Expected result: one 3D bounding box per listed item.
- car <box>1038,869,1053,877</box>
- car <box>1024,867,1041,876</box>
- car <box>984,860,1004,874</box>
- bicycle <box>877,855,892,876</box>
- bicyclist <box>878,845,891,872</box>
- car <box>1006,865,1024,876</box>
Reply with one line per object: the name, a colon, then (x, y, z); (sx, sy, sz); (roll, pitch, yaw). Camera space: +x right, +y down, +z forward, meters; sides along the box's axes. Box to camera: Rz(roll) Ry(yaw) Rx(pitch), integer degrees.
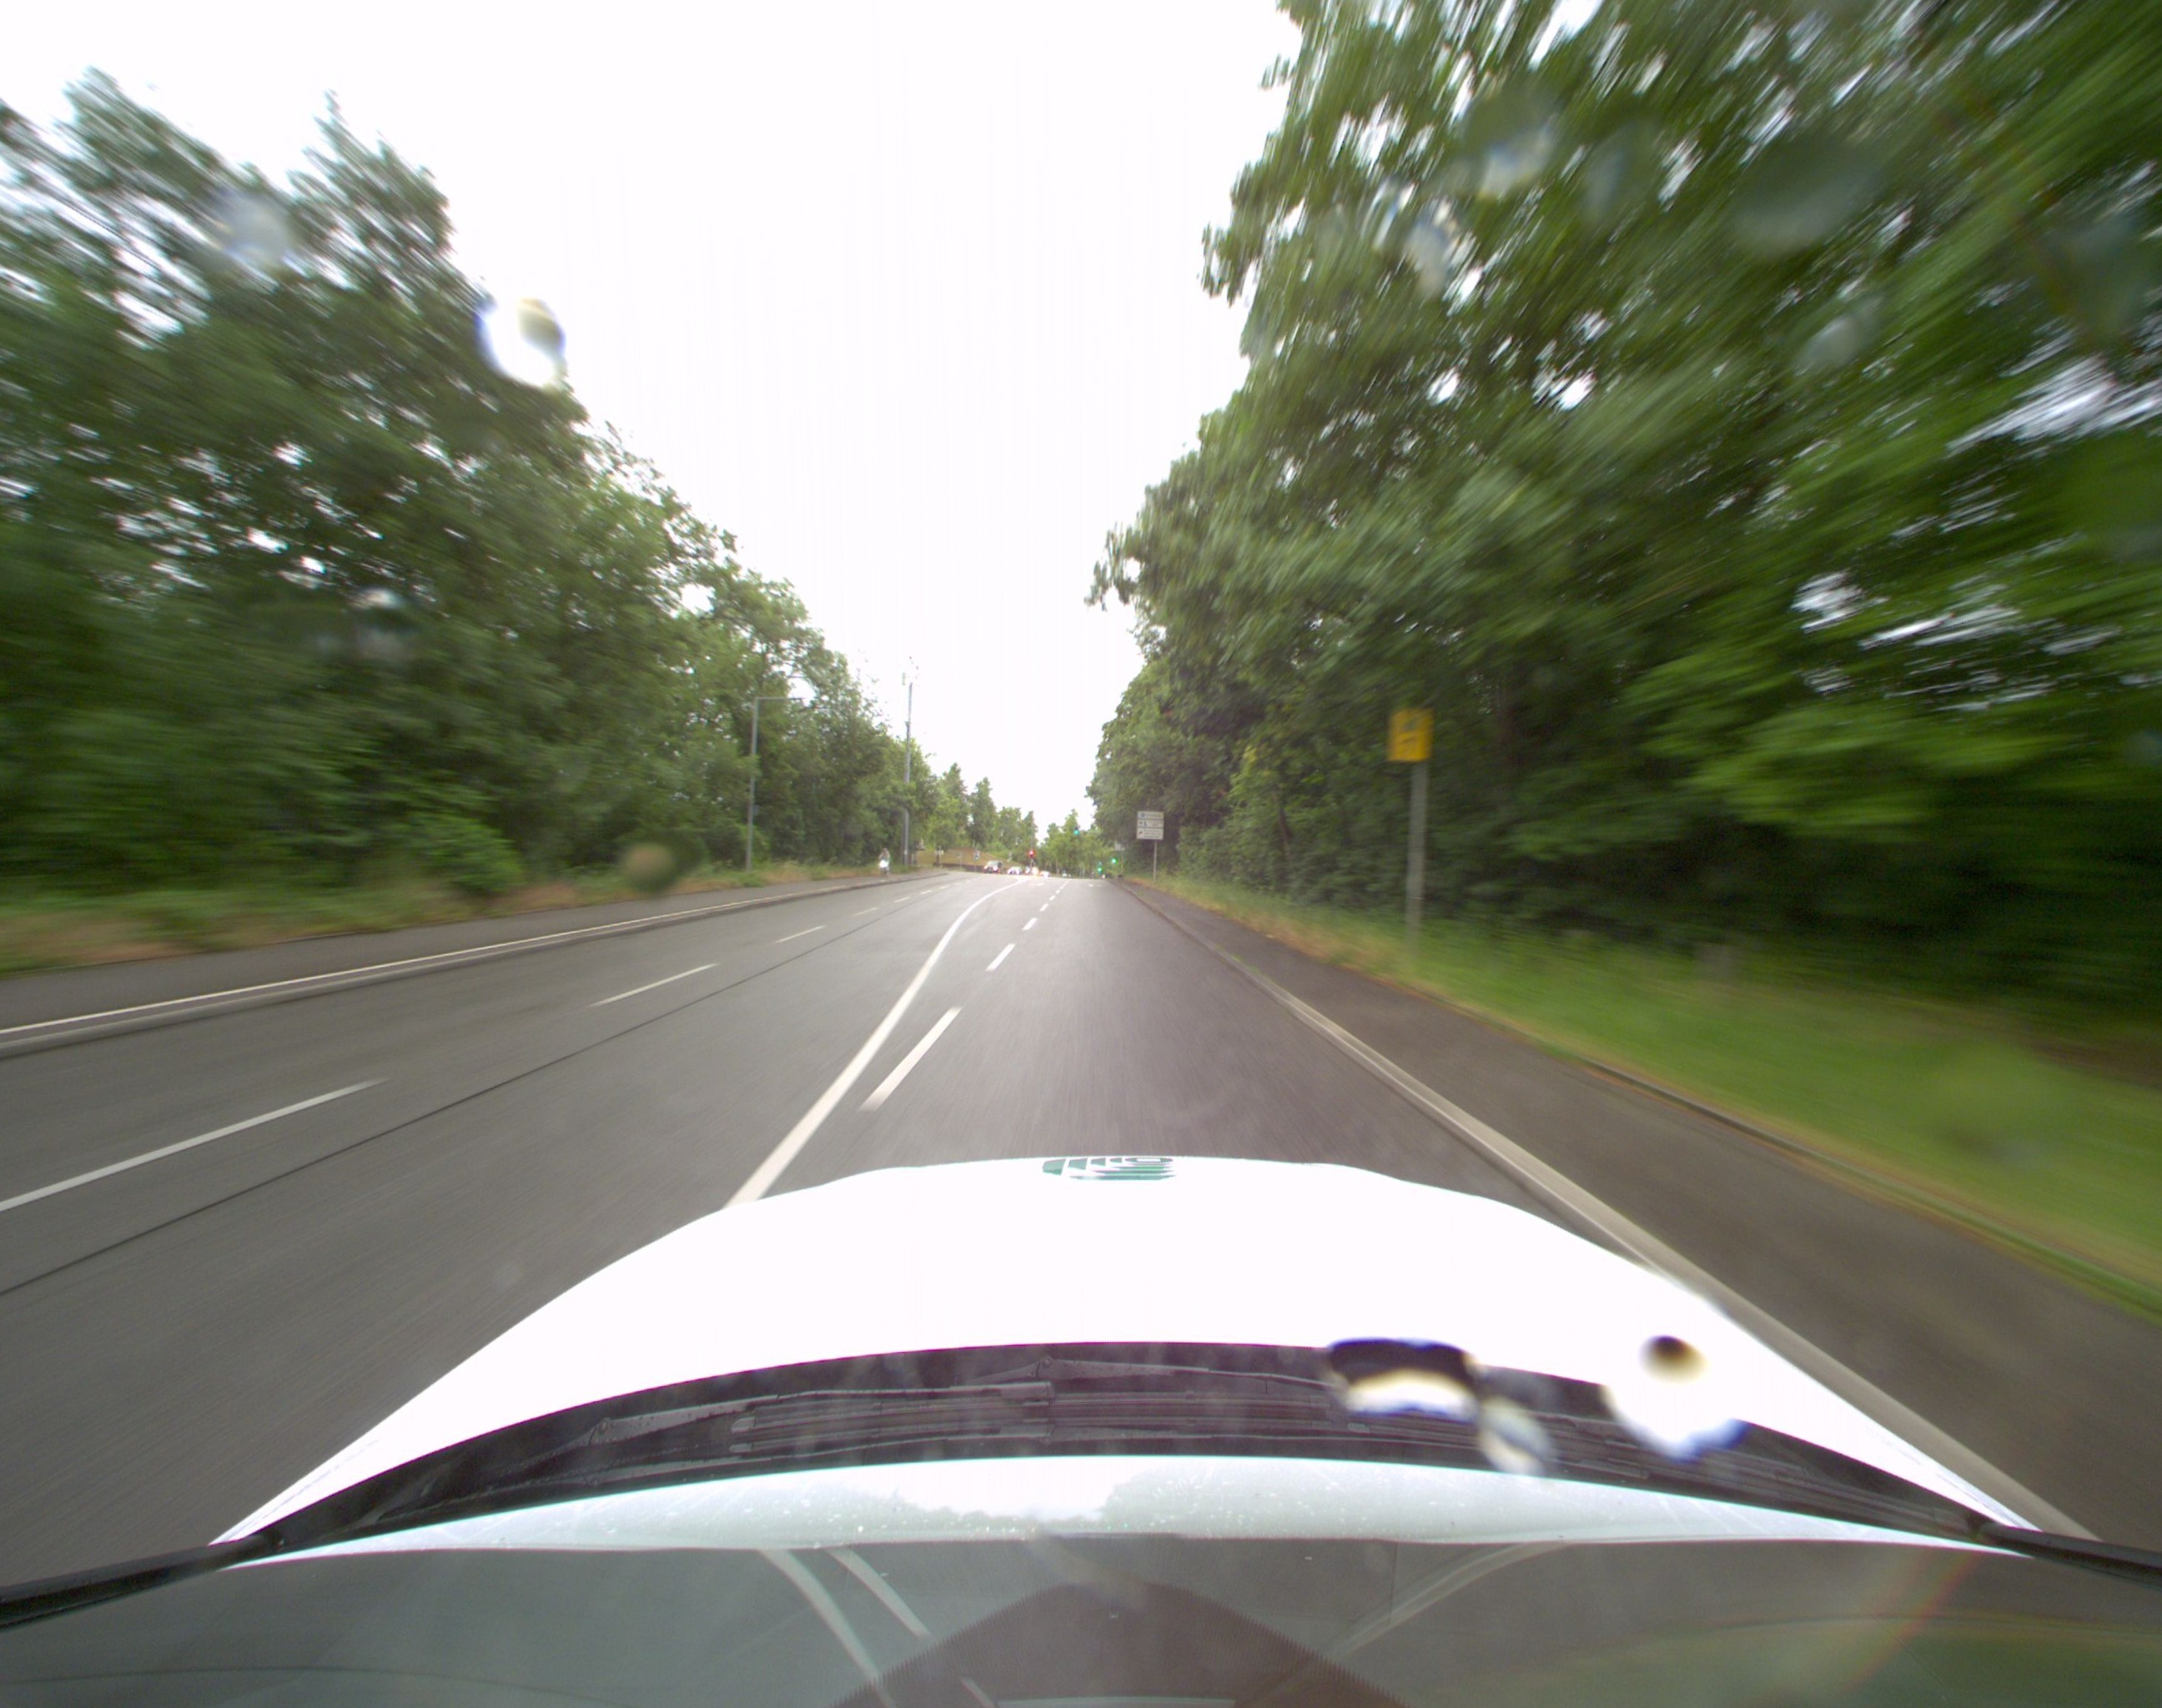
car: (-6.676, 3.582, 152.658); (1.886, 1.354, 4.010); (-1, -2, 10)
car: (-7.473, 2.787, 126.871); (1.887, 1.354, 4.008); (-1, -2, 7)
car: (-12.225, 1.859, 114.387); (1.984, 1.849, 4.005); (-1, -2, 5)
bicycle: (-12.071, 0.678, 49.975); (0.704, 1.242, 2.157); (0, 0, -9)
bicyclist: (-12.070, 0.291, 50.034); (0.704, 1.644, 0.948); (0, 0, -9)
car: (-10.525, 2.632, 129.468); (1.886, 1.551, 4.010); (-1, -2, 9)
